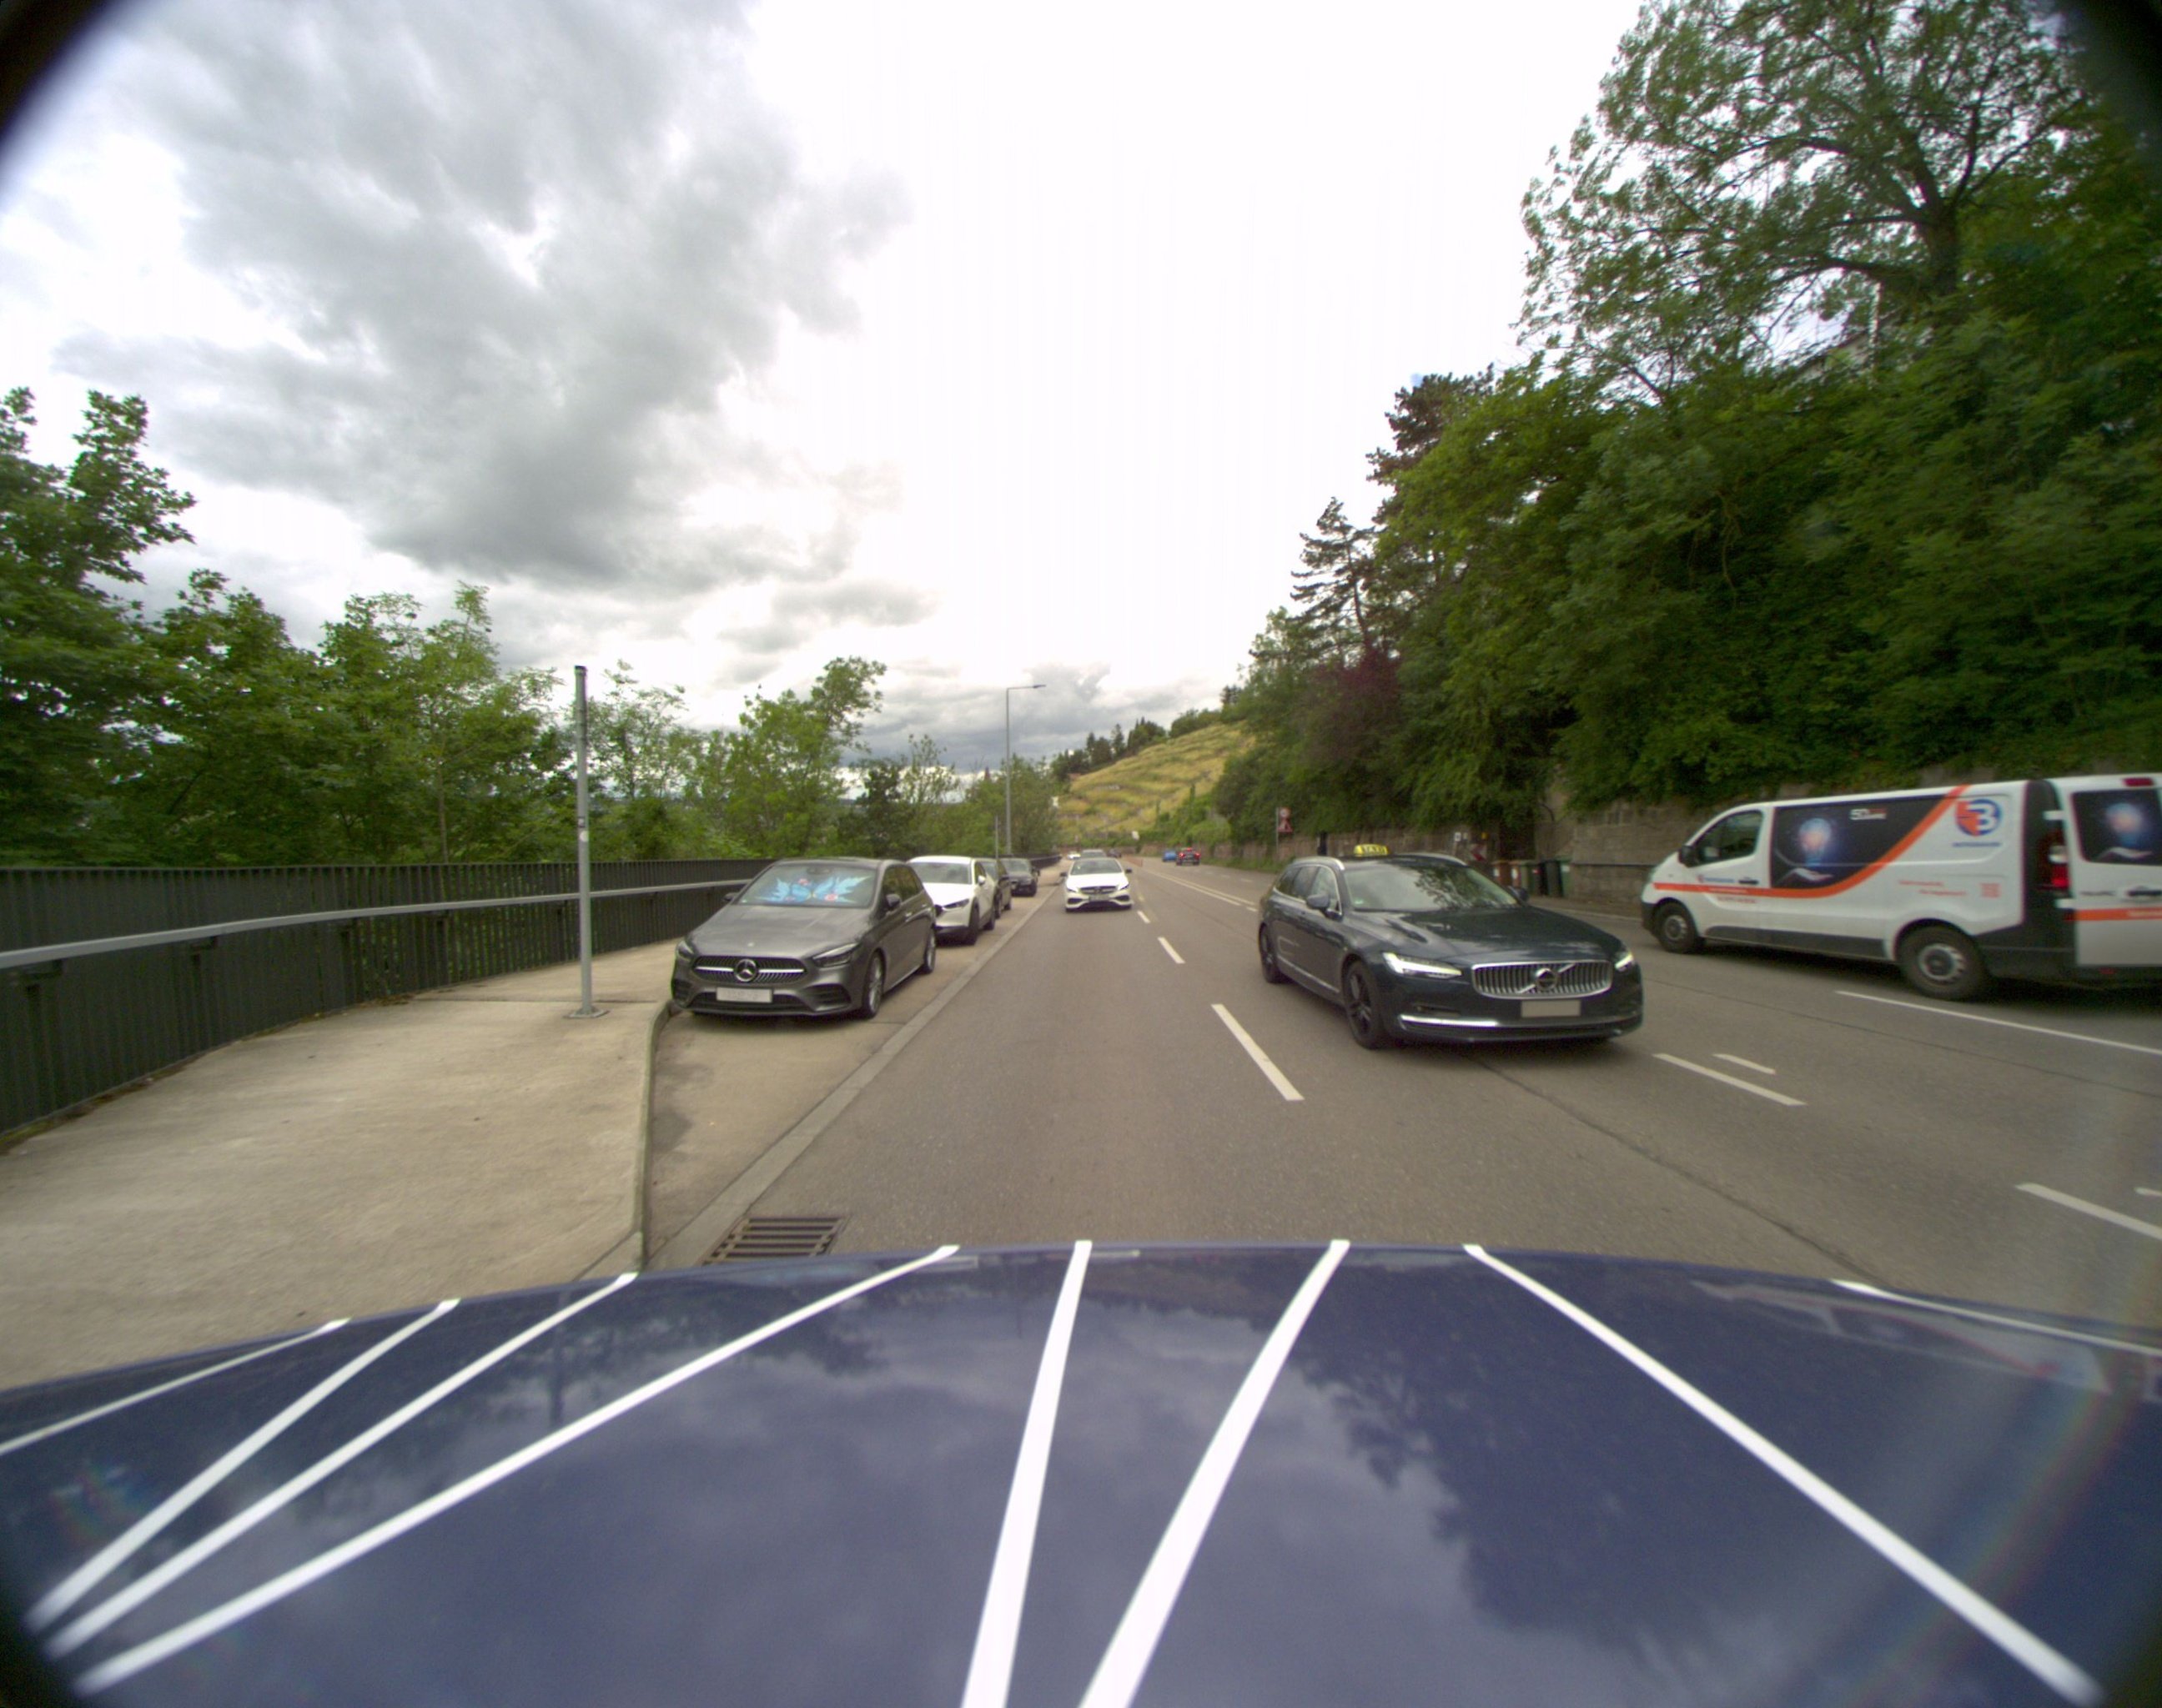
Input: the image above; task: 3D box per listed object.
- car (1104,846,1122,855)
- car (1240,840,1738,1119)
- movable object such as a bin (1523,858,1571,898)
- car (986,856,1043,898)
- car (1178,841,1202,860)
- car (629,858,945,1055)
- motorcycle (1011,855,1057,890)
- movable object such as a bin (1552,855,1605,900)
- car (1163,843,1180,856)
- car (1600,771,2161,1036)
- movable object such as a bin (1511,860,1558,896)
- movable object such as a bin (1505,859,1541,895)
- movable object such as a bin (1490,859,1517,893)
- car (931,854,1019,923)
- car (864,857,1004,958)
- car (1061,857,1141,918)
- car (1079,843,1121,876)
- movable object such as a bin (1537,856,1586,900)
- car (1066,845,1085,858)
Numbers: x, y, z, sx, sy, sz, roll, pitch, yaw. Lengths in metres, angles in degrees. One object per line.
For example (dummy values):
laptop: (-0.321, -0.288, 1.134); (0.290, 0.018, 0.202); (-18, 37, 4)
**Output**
car: (5.218, -0.599, 125.029); (1.863, 1.437, 4.291); (-2, 1, -11)
car: (2.931, 0.720, 6.998); (1.939, 1.567, 5.027); (-3, 1, 2)
movable object such as a bin: (12.278, 0.626, 20.033); (0.901, 1.028, 0.621); (-1, 1, -3)
car: (-2.469, 0.838, 29.099); (1.828, 1.393, 4.318); (1, 1, 0)
car: (10.197, -0.334, 71.595); (1.820, 1.687, 4.470); (-2, 1, 3)
car: (-2.849, 0.865, 8.549); (1.761, 1.535, 4.427); (2, 1, 1)
motorcycle: (-2.100, 0.822, 34.119); (0.770, 1.459, 2.509); (-1, 1, 30)
movable object such as a bin: (12.128, 0.572, 18.536); (0.789, 1.064, 0.708); (-1, 0, -3)
car: (10.383, -0.546, 87.540); (1.587, 1.453, 3.523); (-3, 1, 2)
car: (8.507, 0.341, 8.418); (1.926, 1.993, 5.355); (-1, 1, 1)
movable object such as a bin: (12.316, 0.638, 20.658); (0.919, 0.940, 0.594); (-1, 1, -2)
movable object such as a bin: (12.372, 0.639, 21.275); (0.675, 0.960, 0.543); (-1, 1, -3)
movable object such as a bin: (12.164, 0.619, 21.886); (0.518, 0.960, 0.474); (-1, 1, -3)
car: (-2.708, 0.822, 20.306); (1.663, 1.563, 4.255); (2, 1, 1)
car: (-2.625, 0.873, 14.644); (1.731, 1.559, 4.623); (0, 1, 1)
car: (0.589, 0.839, 20.759); (1.903, 1.418, 4.267); (-3, -1, 3)
car: (1.003, 0.248, 39.985); (1.998, 1.580, 4.000); (-3, 1, 2)
movable object such as a bin: (12.167, 0.594, 19.274); (0.774, 1.055, 0.718); (-1, 1, -3)
car: (-0.869, -0.405, 123.146); (2.001, 2.002, 3.994); (-2, 1, -18)
